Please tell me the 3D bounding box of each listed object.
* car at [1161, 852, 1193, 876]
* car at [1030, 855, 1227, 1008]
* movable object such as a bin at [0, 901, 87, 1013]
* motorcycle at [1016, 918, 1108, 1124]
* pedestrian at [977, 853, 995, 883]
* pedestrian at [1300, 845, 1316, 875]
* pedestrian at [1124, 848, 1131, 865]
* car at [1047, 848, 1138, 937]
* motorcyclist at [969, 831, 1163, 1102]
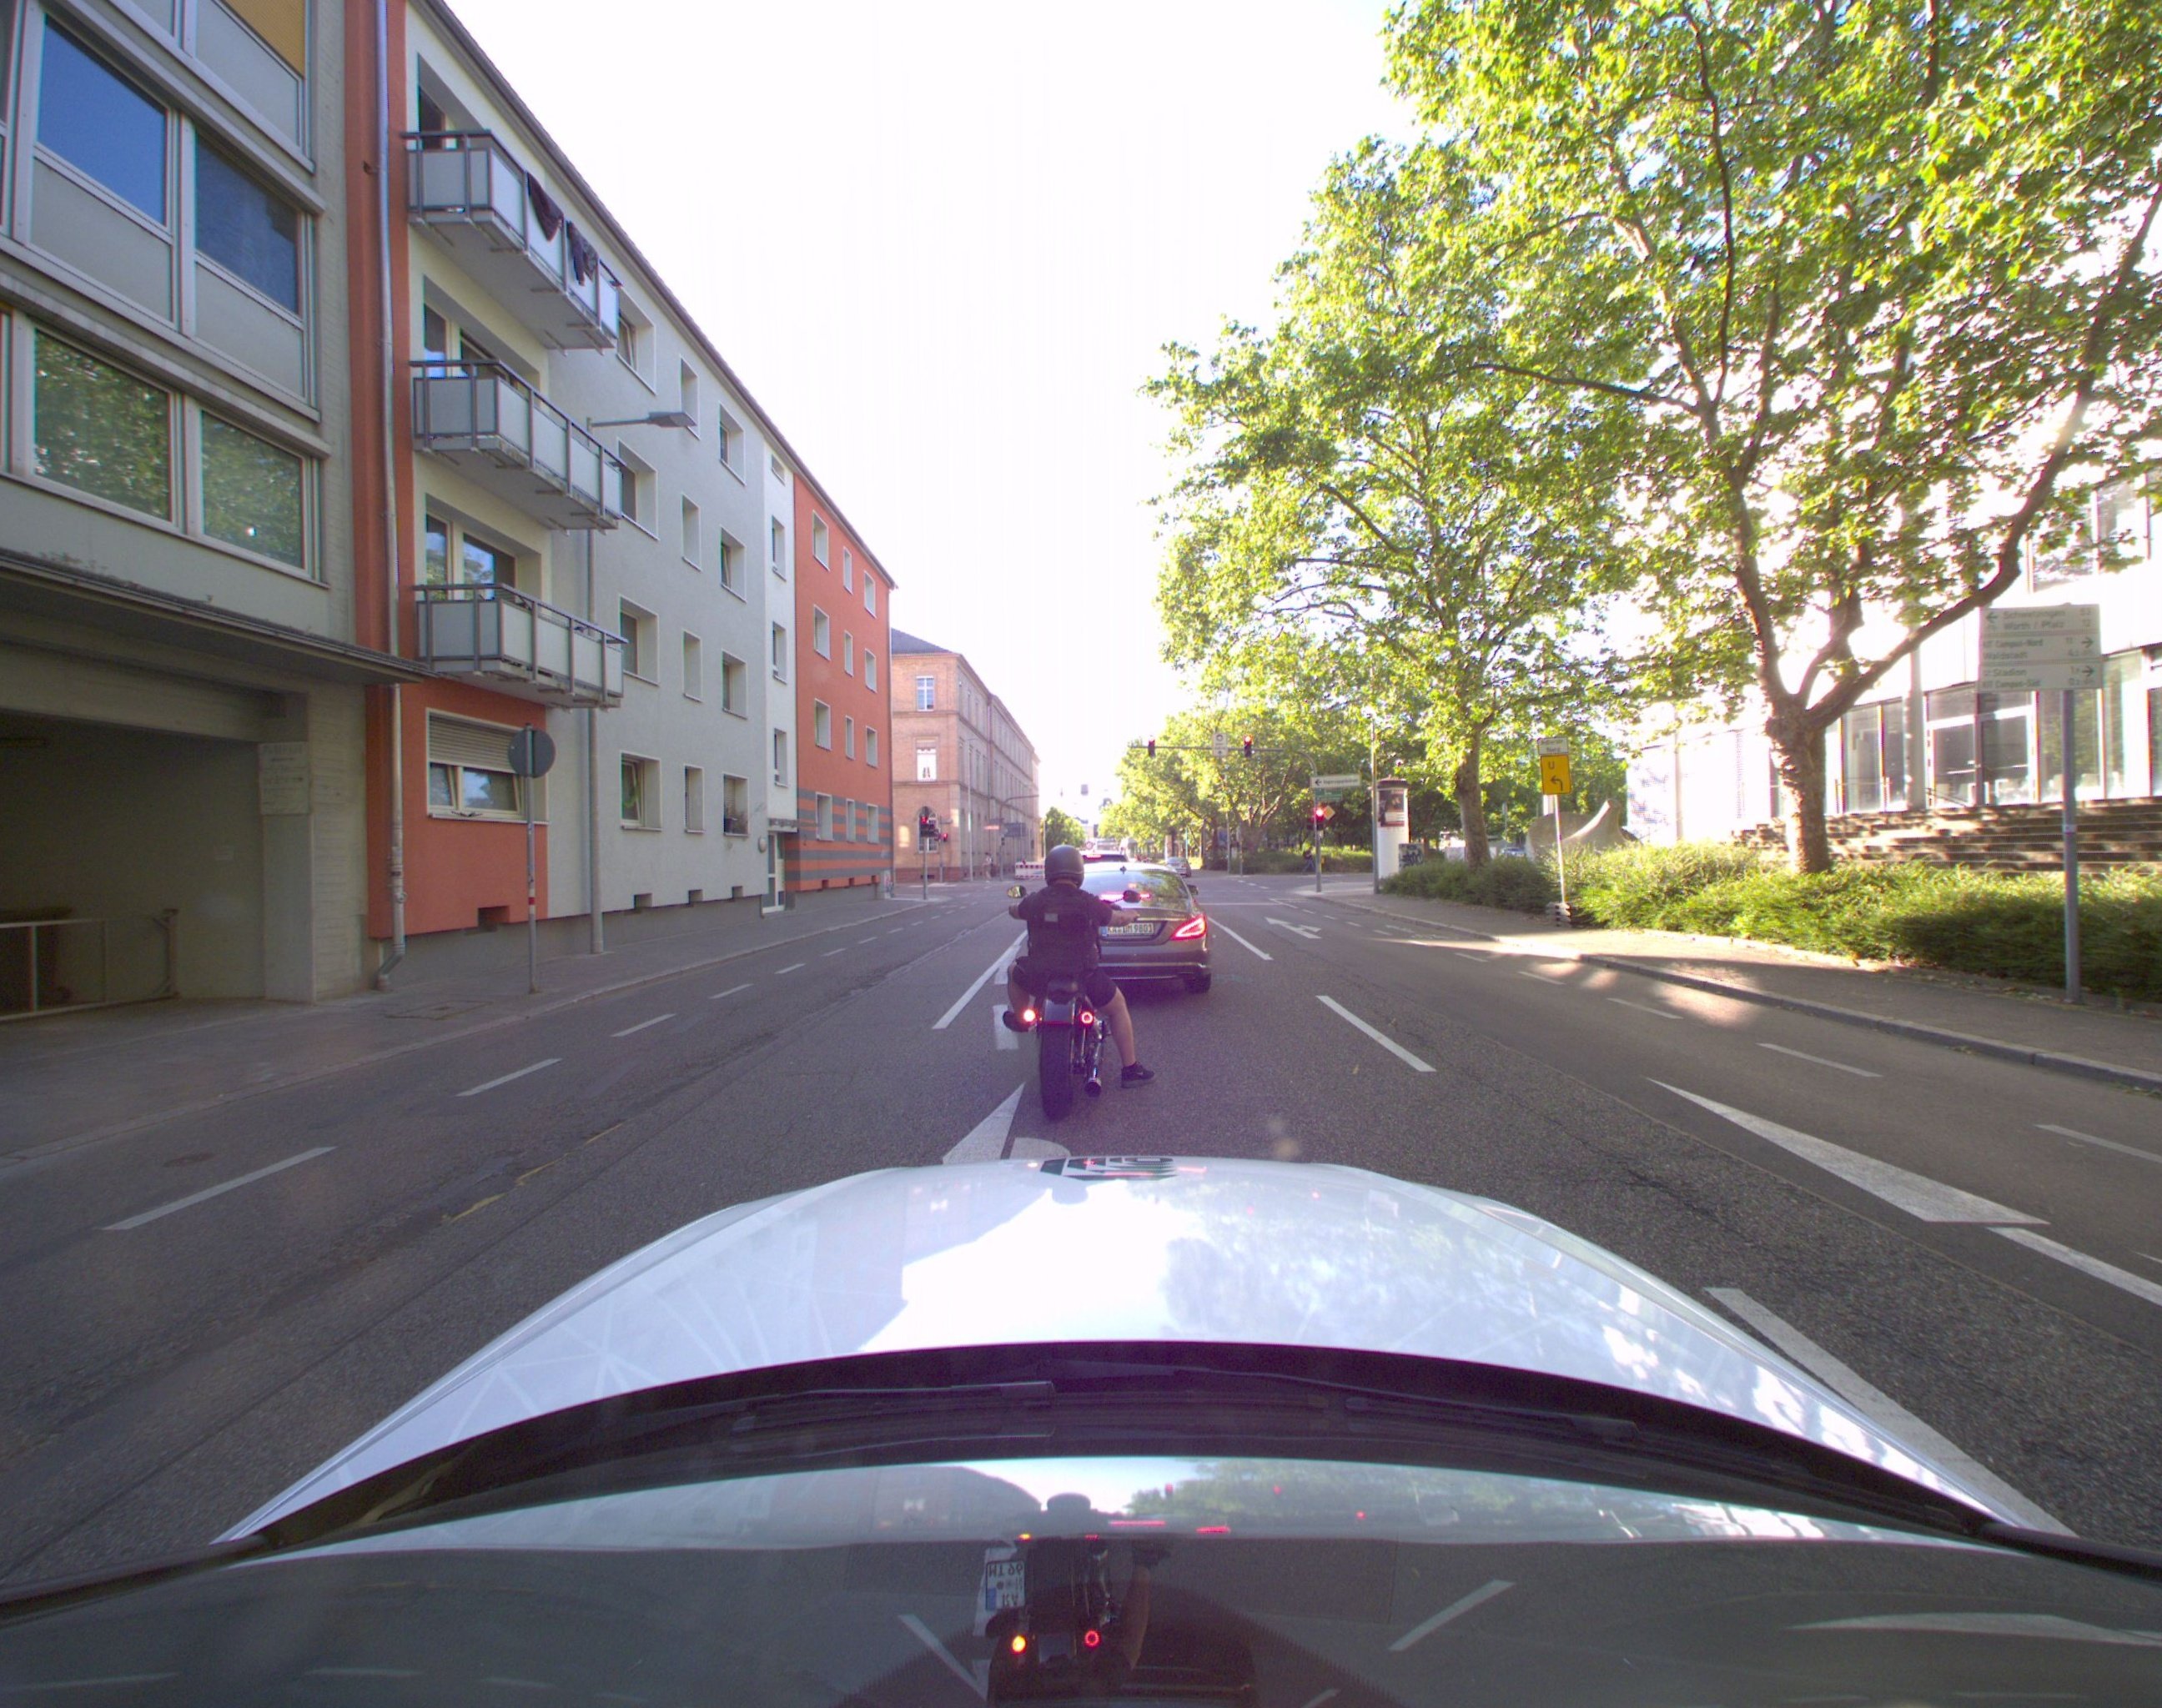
[{"bbox_3d":[6.641,0.680,55.794,1.840,1.575,4.148,-1,-1,11],"label":"car"},{"bbox_3d":[0.516,0.742,9.731,1.875,1.449,3.821,0,0,2],"label":"car"},{"bbox_3d":[-11.258,1.071,8.635,0.626,1.100,0.659,0,-1,4],"label":"movable object such as a bin"},{"bbox_3d":[-0.074,1.008,5.547,0.511,1.002,2.014,0,-1,2],"label":"motorcycle"},{"bbox_3d":[-5.774,0.843,49.532,1.002,1.826,1.071,0,-1,-13],"label":"pedestrian"},{"bbox_3d":[14.249,0.385,51.114,0.916,1.910,0.755,-1,-1,14],"label":"pedestrian"},{"bbox_3d":[5.744,0.288,100.893,0.761,2.051,0.712,0,-1,1],"label":"pedestrian"},{"bbox_3d":[0.275,0.696,16.859,1.615,1.594,4.002,-1,0,2],"label":"car"},{"bbox_3d":[-0.071,0.675,5.477,1.145,1.598,1.288,0,-1,1],"label":"motorcyclist"}]
